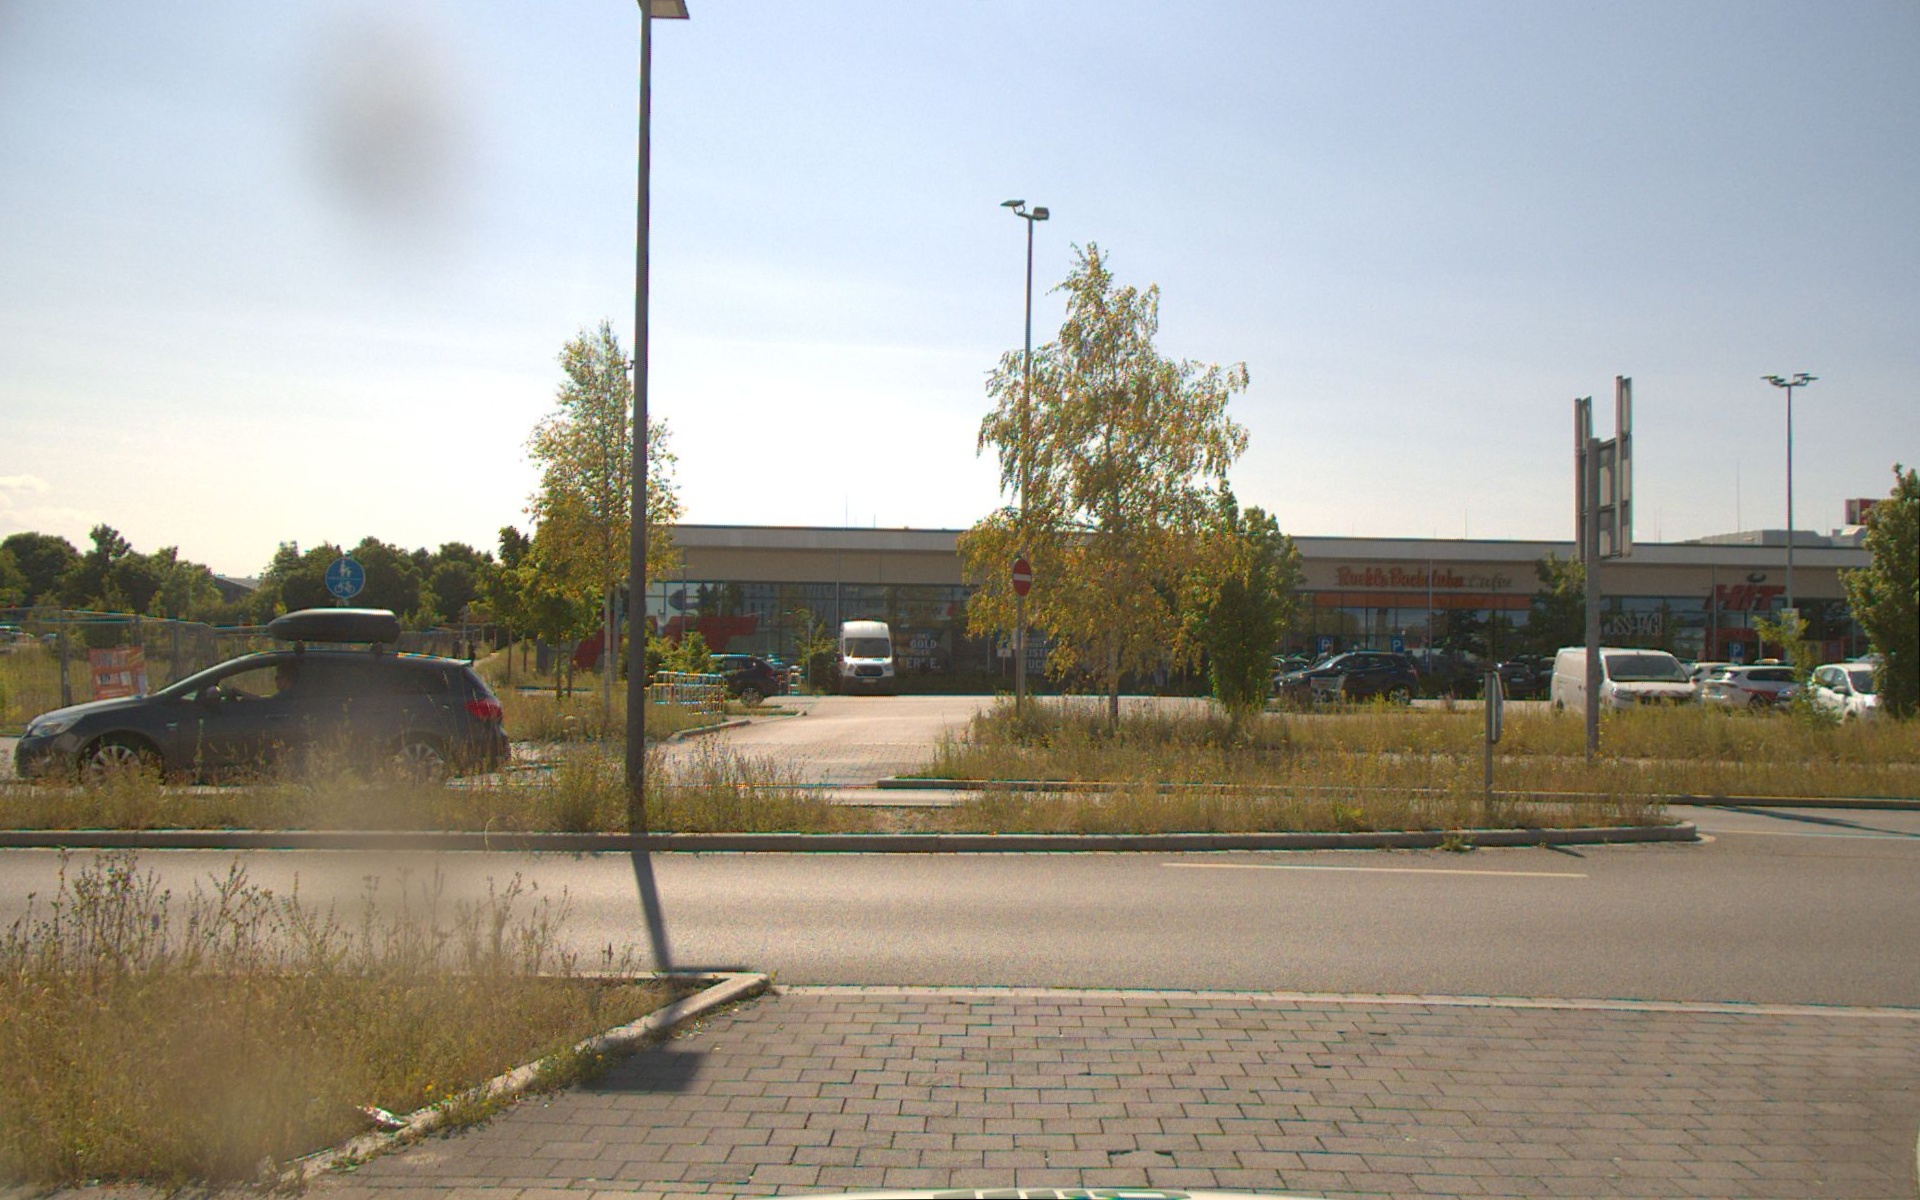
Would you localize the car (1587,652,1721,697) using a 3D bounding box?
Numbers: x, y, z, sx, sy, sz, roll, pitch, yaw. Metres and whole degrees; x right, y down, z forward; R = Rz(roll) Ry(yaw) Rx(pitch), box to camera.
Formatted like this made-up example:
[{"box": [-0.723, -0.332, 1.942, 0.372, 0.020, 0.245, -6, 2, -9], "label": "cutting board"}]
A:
[{"box": [22.535, 2.420, 53.781, 3.648, 1.415, 1.729, 1, -2, -6], "label": "car"}]

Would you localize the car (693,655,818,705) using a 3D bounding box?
[{"box": [-6.316, 2.483, 51.218, 3.759, 1.448, 1.769, 1, -2, -7], "label": "car"}]

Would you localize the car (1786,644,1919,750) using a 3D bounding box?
[{"box": [19.253, 1.966, 34.728, 2.111, 2.049, 5.119, 0, -2, 11], "label": "car"}]

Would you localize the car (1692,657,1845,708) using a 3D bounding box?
[{"box": [23.370, 2.389, 47.883, 3.648, 1.415, 1.729, 1, -2, -6], "label": "car"}]

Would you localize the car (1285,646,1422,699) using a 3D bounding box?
[{"box": [11.898, 2.179, 50.142, 3.718, 1.535, 1.731, 1, -2, -3], "label": "car"}]

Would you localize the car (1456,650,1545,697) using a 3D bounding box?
[{"box": [20.878, 2.822, 64.060, 1.954, 1.737, 3.996, 1, -1, -4], "label": "car"}]

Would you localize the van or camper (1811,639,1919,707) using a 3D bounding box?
[{"box": [29.556, 2.291, 51.679, 4.932, 2.049, 1.999, 1, -2, -1], "label": "van or camper"}]

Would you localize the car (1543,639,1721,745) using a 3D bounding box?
[{"box": [14.165, 1.876, 35.207, 2.037, 2.049, 5.231, 1, -2, 5], "label": "car"}]

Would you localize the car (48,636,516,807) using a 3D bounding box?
[{"box": [-6.819, 1.199, 16.827, 4.132, 1.543, 1.983, 2, -3, -26], "label": "car"}]

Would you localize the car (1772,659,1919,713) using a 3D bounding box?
[{"box": [24.476, 2.353, 45.302, 3.648, 1.415, 1.729, 1, -2, -6], "label": "car"}]

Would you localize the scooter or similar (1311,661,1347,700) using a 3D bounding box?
[{"box": [10.788, 2.354, 48.414, 0.923, 1.098, 0.652, 1, -2, 1], "label": "scooter or similar"}]

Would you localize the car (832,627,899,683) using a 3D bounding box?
[{"box": [-3.676, 2.067, 63.101, 2.180, 2.012, 6.685, 1, -2, -7], "label": "car"}]

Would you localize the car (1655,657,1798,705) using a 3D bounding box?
[{"box": [23.580, 2.488, 50.923, 3.648, 1.415, 1.729, 1, -2, -6], "label": "car"}]
